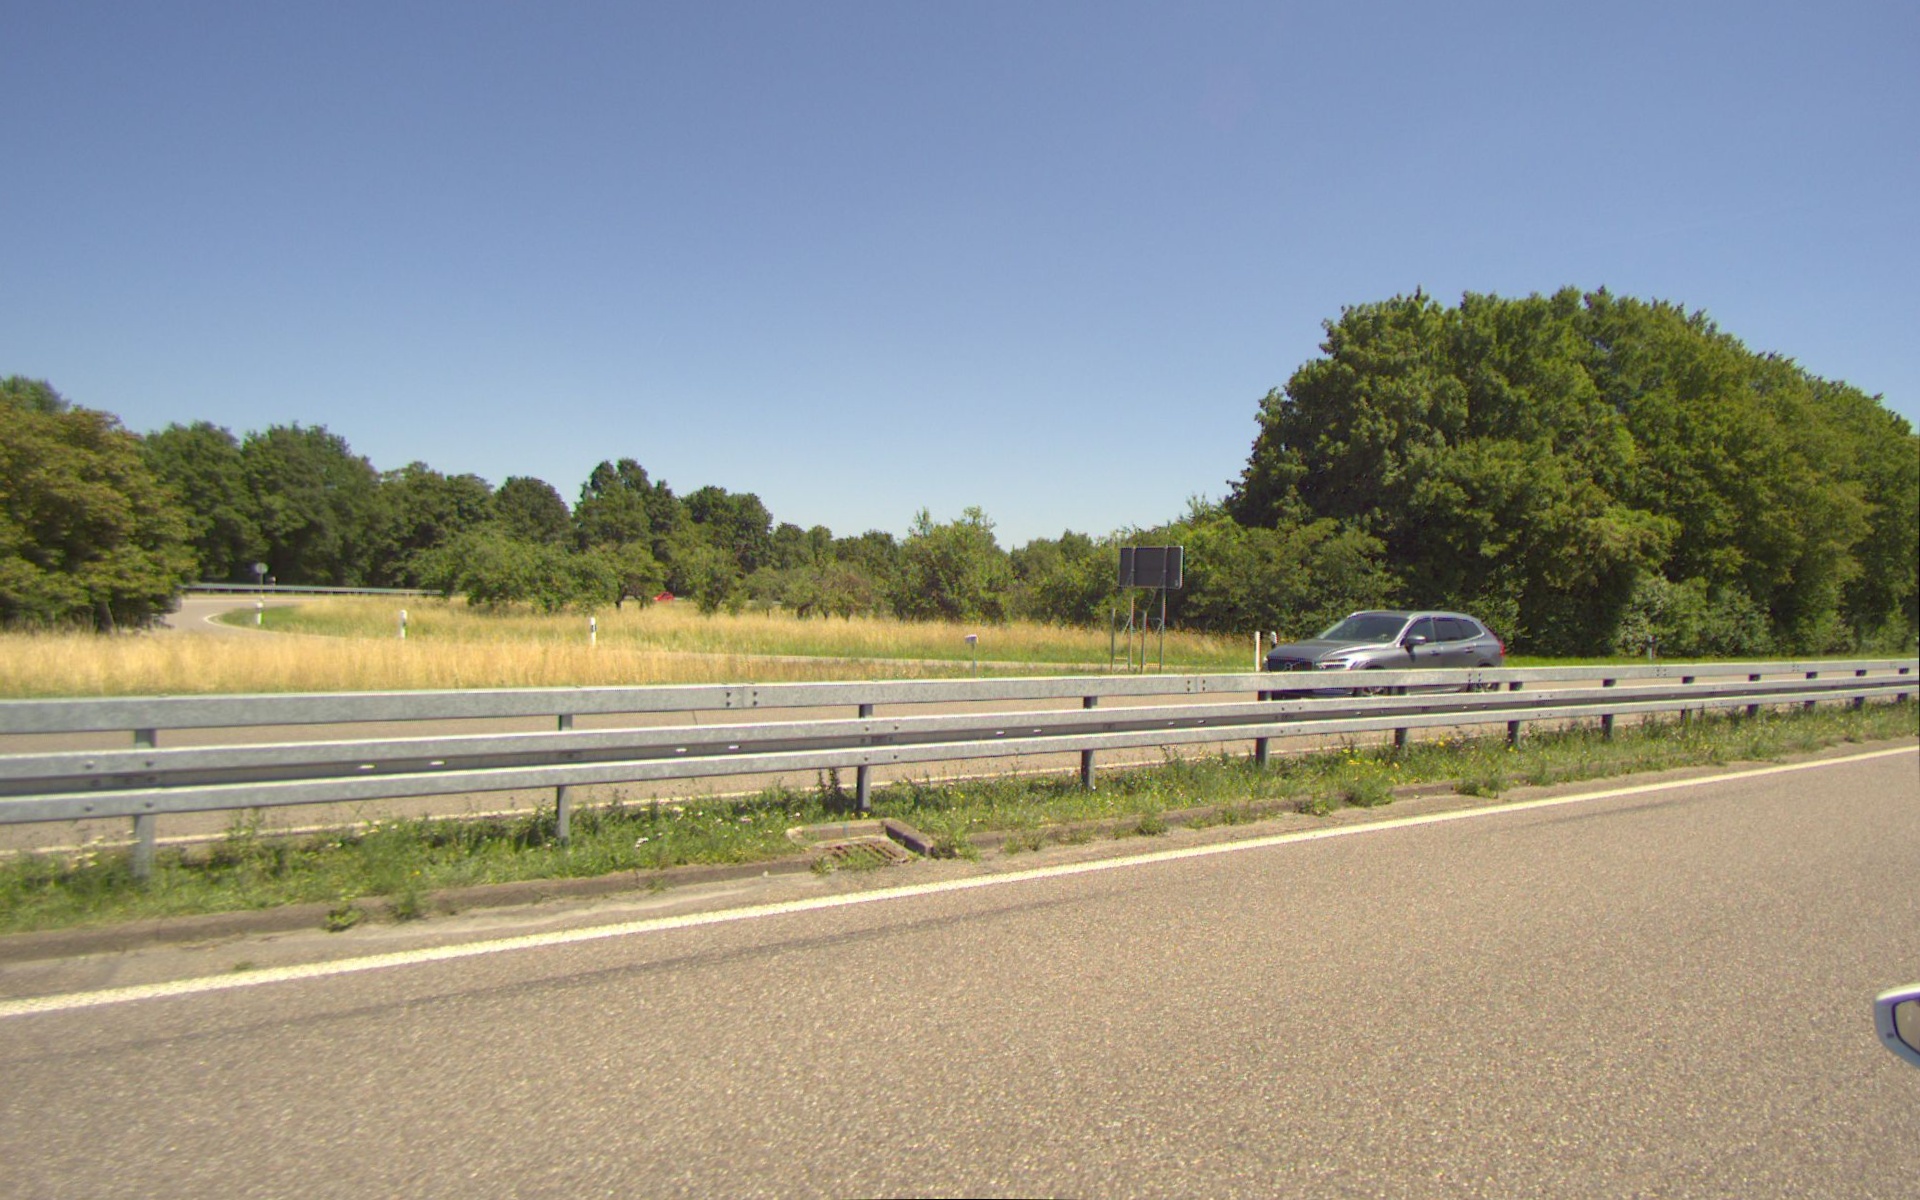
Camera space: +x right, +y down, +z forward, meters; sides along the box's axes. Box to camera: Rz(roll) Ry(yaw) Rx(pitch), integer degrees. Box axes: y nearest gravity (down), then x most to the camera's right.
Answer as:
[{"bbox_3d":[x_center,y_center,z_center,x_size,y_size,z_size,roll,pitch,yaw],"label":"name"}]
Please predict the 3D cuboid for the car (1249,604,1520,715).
[{"bbox_3d":[7.092,0.921,16.665,4.486,1.639,1.815,1,-1,-30],"label":"car"}]
